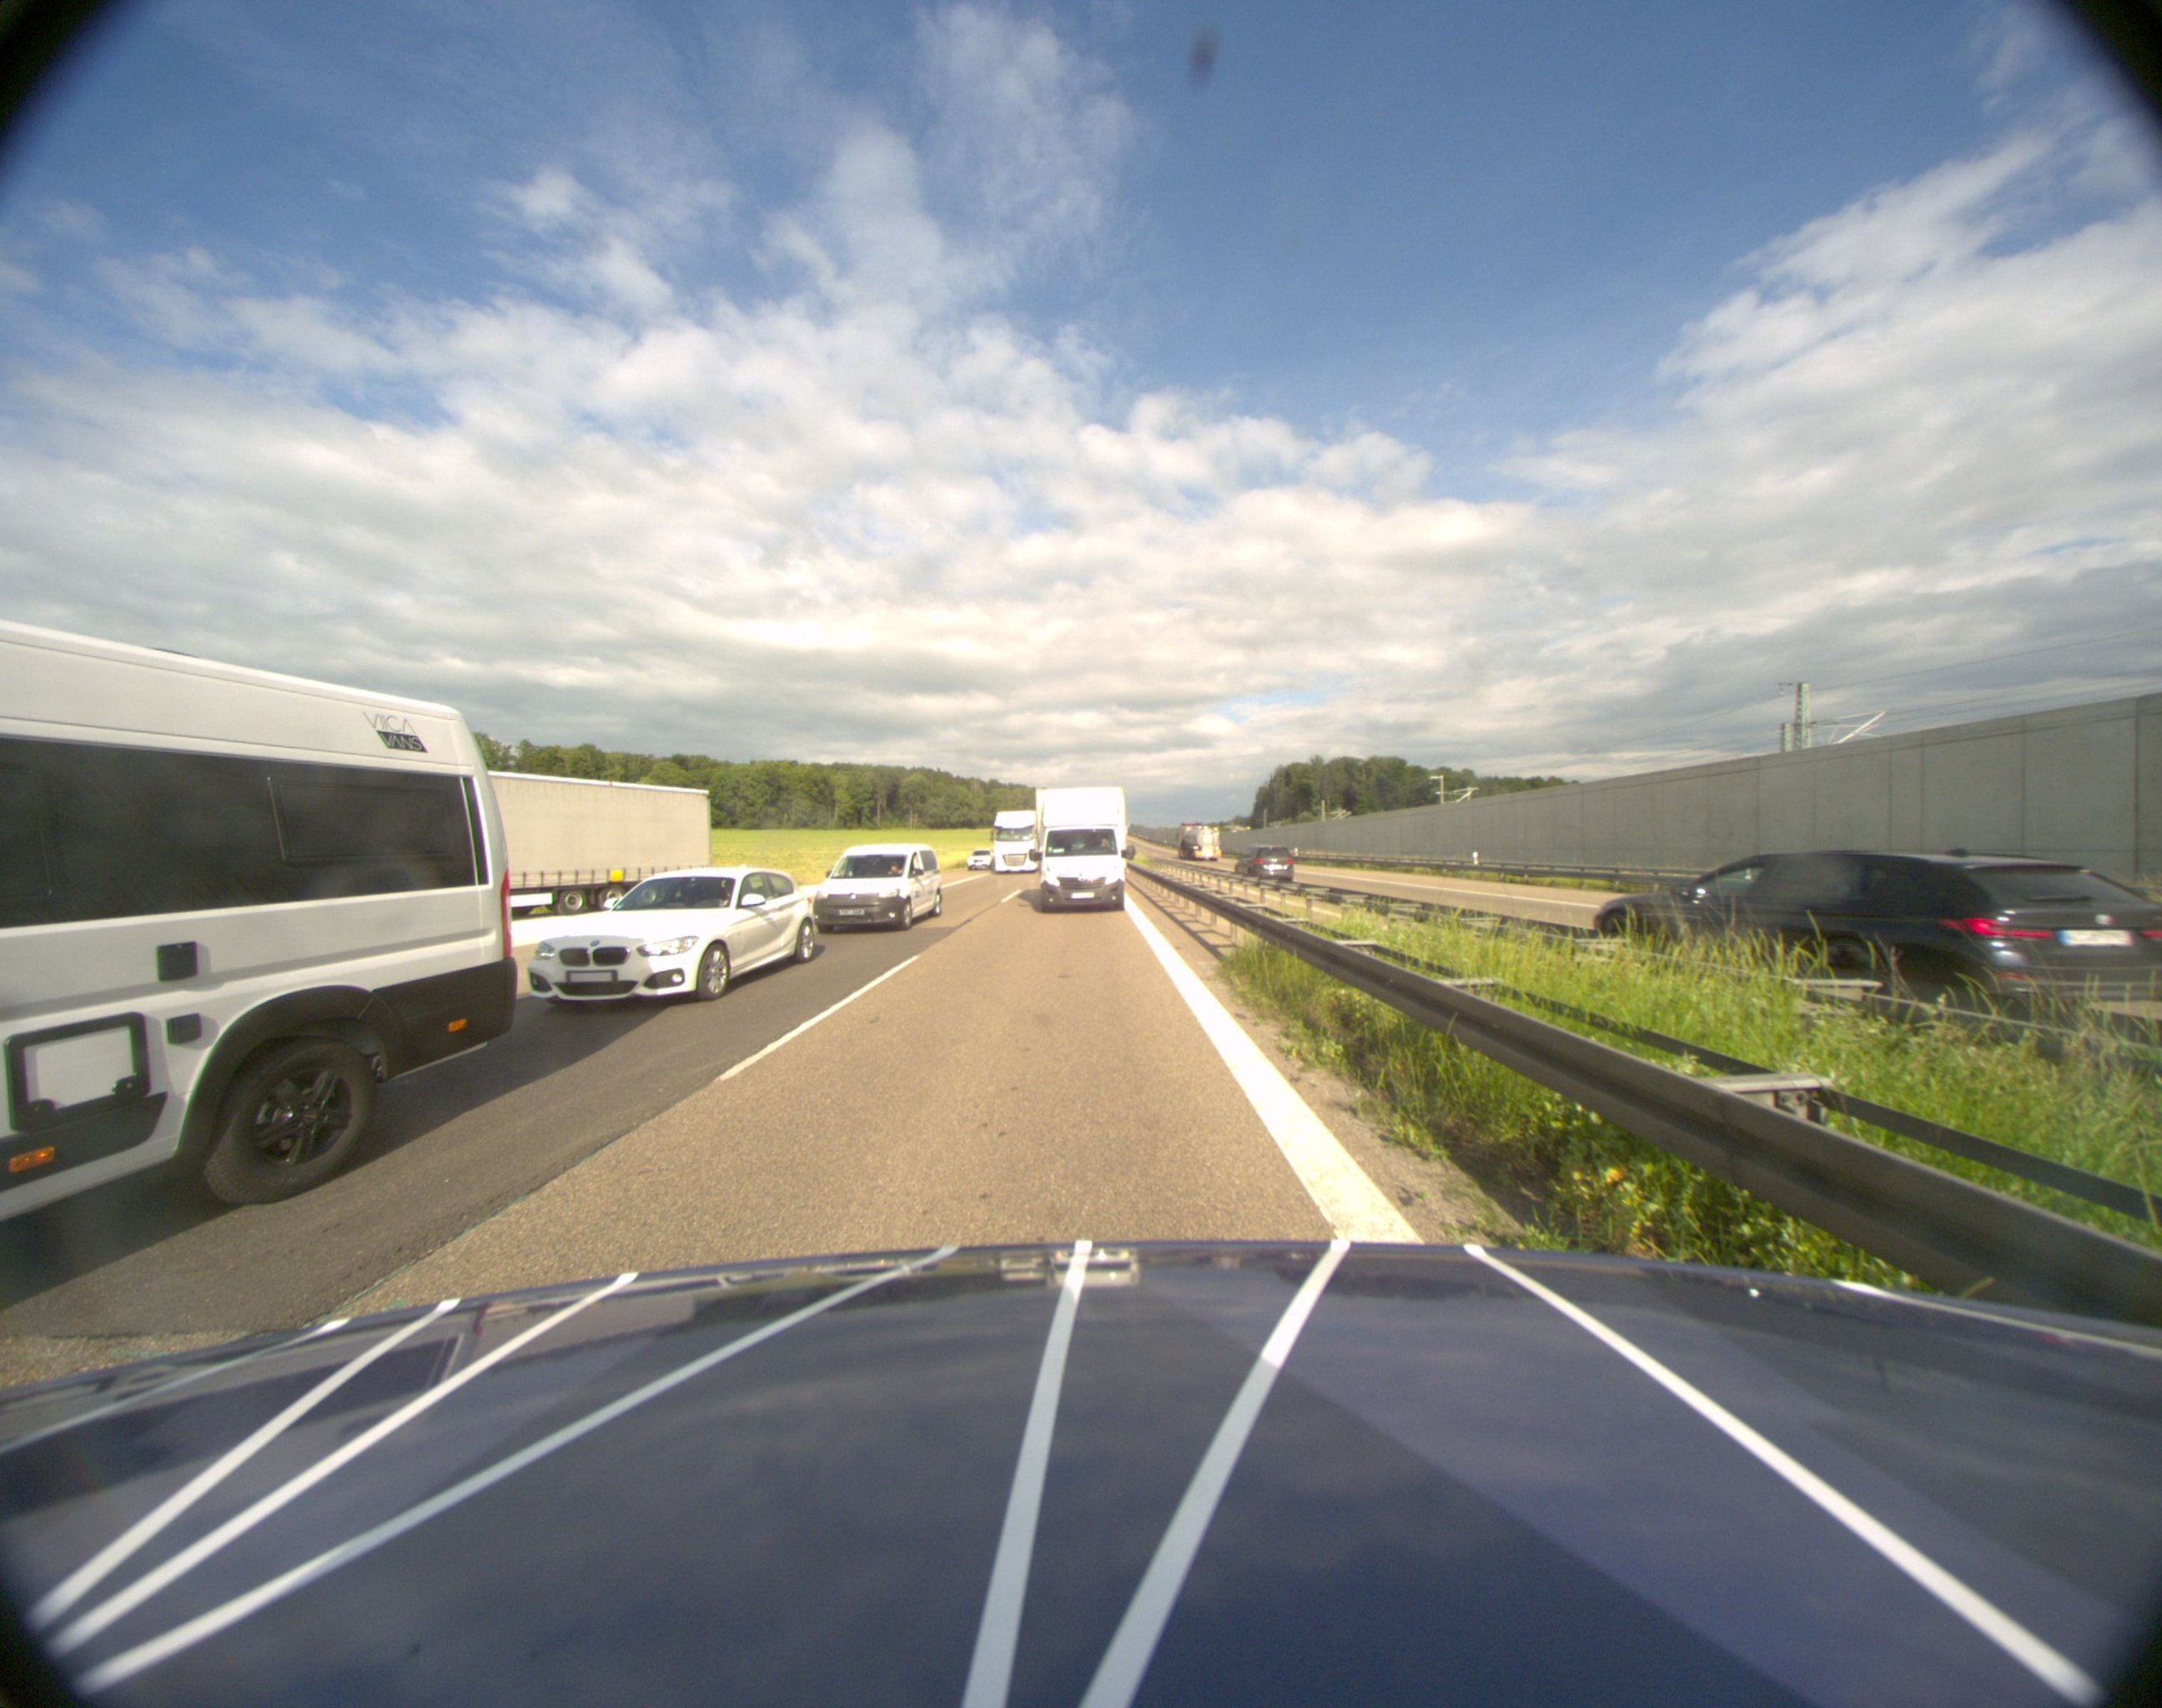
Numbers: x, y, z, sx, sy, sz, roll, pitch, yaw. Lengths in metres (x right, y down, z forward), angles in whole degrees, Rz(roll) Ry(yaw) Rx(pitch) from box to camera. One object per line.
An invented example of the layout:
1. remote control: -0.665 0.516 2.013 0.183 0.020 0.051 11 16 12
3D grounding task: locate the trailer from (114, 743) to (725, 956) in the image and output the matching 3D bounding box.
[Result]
1. trailer: -16.421 -0.167 21.791 2.739 4.136 13.842 -2 1 15

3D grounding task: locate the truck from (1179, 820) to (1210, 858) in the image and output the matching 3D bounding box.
1. truck: 12.241 -1.612 82.363 2.589 3.900 5.721 0 1 1

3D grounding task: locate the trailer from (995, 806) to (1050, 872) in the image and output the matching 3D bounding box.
1. trailer: -4.036 -1.166 55.717 2.742 4.137 14.015 -2 2 0

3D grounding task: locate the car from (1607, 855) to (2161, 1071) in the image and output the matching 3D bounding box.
1. car: 7.791 0.809 7.814 1.702 1.490 4.426 -1 1 0

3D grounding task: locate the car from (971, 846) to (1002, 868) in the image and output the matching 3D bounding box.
1. car: -7.349 0.235 59.411 1.808 1.583 4.675 -1 1 0

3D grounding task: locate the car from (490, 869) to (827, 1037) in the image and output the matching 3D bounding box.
1. car: -4.753 0.988 9.388 1.708 1.424 4.231 -2 1 1

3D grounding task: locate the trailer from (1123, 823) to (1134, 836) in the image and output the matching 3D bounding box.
1. trailer: 15.837 -8.294 255.263 2.797 4.054 13.517 0 1 0

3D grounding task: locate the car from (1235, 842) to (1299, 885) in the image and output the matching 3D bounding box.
1. car: 7.955 0.355 32.812 1.785 1.727 4.102 -1 1 1

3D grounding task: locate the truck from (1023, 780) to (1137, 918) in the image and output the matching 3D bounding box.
1. truck: 0.006 -0.173 23.469 2.500 3.082 12.036 -2 1 0

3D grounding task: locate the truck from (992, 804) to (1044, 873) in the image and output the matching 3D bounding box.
1. truck: -4.061 -1.025 49.844 2.736 4.150 5.765 -2 2 0

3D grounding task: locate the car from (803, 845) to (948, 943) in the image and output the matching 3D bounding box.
1. car: -4.248 0.719 16.549 1.729 1.746 4.702 -2 1 1

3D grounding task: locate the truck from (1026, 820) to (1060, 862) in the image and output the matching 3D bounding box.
1. truck: -3.985 -1.384 82.132 2.946 4.094 12.522 -1 1 0

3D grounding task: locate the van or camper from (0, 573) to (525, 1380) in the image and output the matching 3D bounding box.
1. van or camper: -4.700 0.431 1.633 2.220 2.666 6.331 -1 1 1

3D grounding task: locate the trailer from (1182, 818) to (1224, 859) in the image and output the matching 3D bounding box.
1. trailer: 12.222 -1.504 76.975 2.594 3.879 10.863 0 1 0
